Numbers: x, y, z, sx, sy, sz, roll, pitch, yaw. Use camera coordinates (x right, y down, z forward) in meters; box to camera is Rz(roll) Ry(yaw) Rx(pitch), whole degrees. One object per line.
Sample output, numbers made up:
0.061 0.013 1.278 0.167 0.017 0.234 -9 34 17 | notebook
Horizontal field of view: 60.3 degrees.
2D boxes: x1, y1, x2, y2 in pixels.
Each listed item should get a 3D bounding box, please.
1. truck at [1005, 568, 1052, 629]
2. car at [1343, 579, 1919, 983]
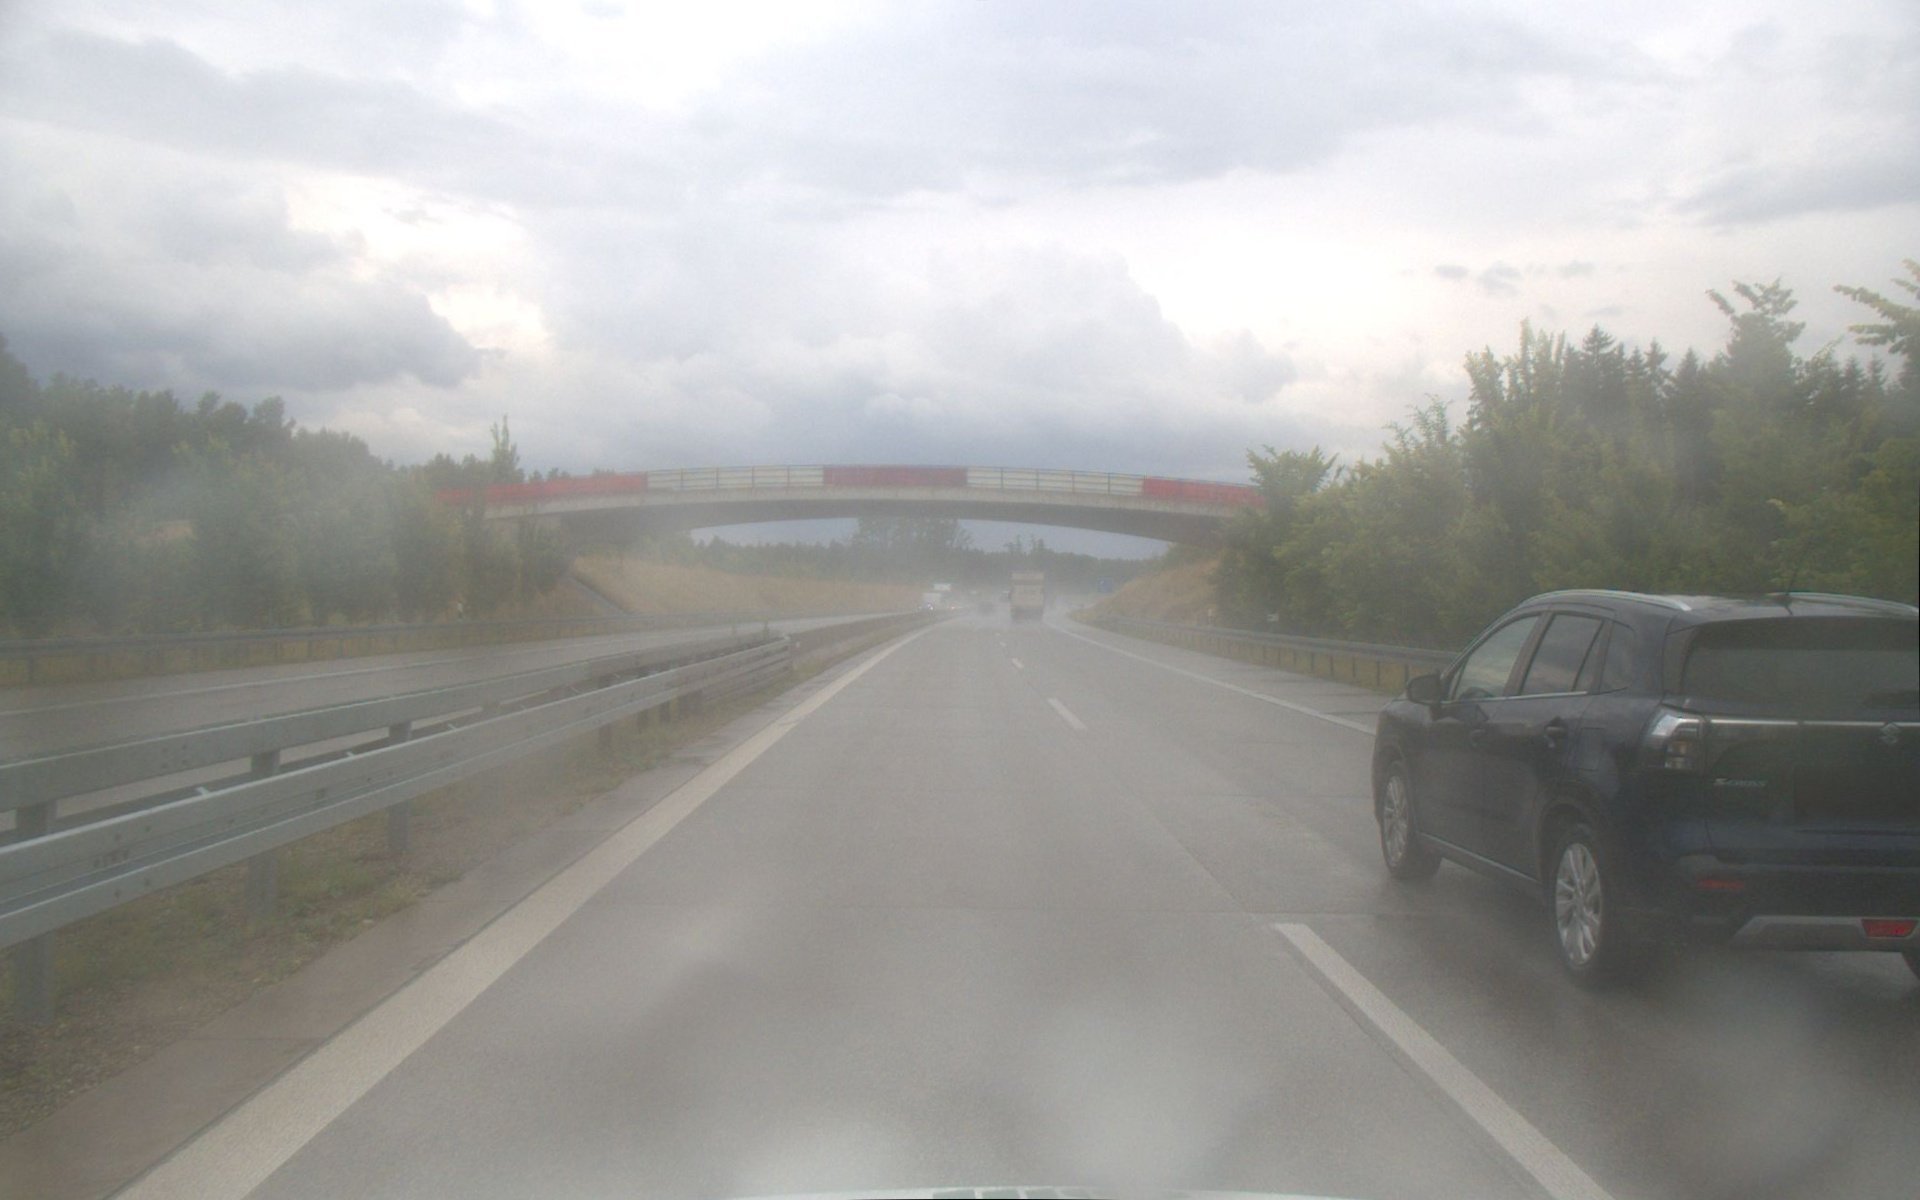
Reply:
5.273 -0.153 126.015 3.175 4.514 8.251 0 1 5 | truck
3.317 0.728 8.496 1.855 1.603 3.632 1 0 0 | car
